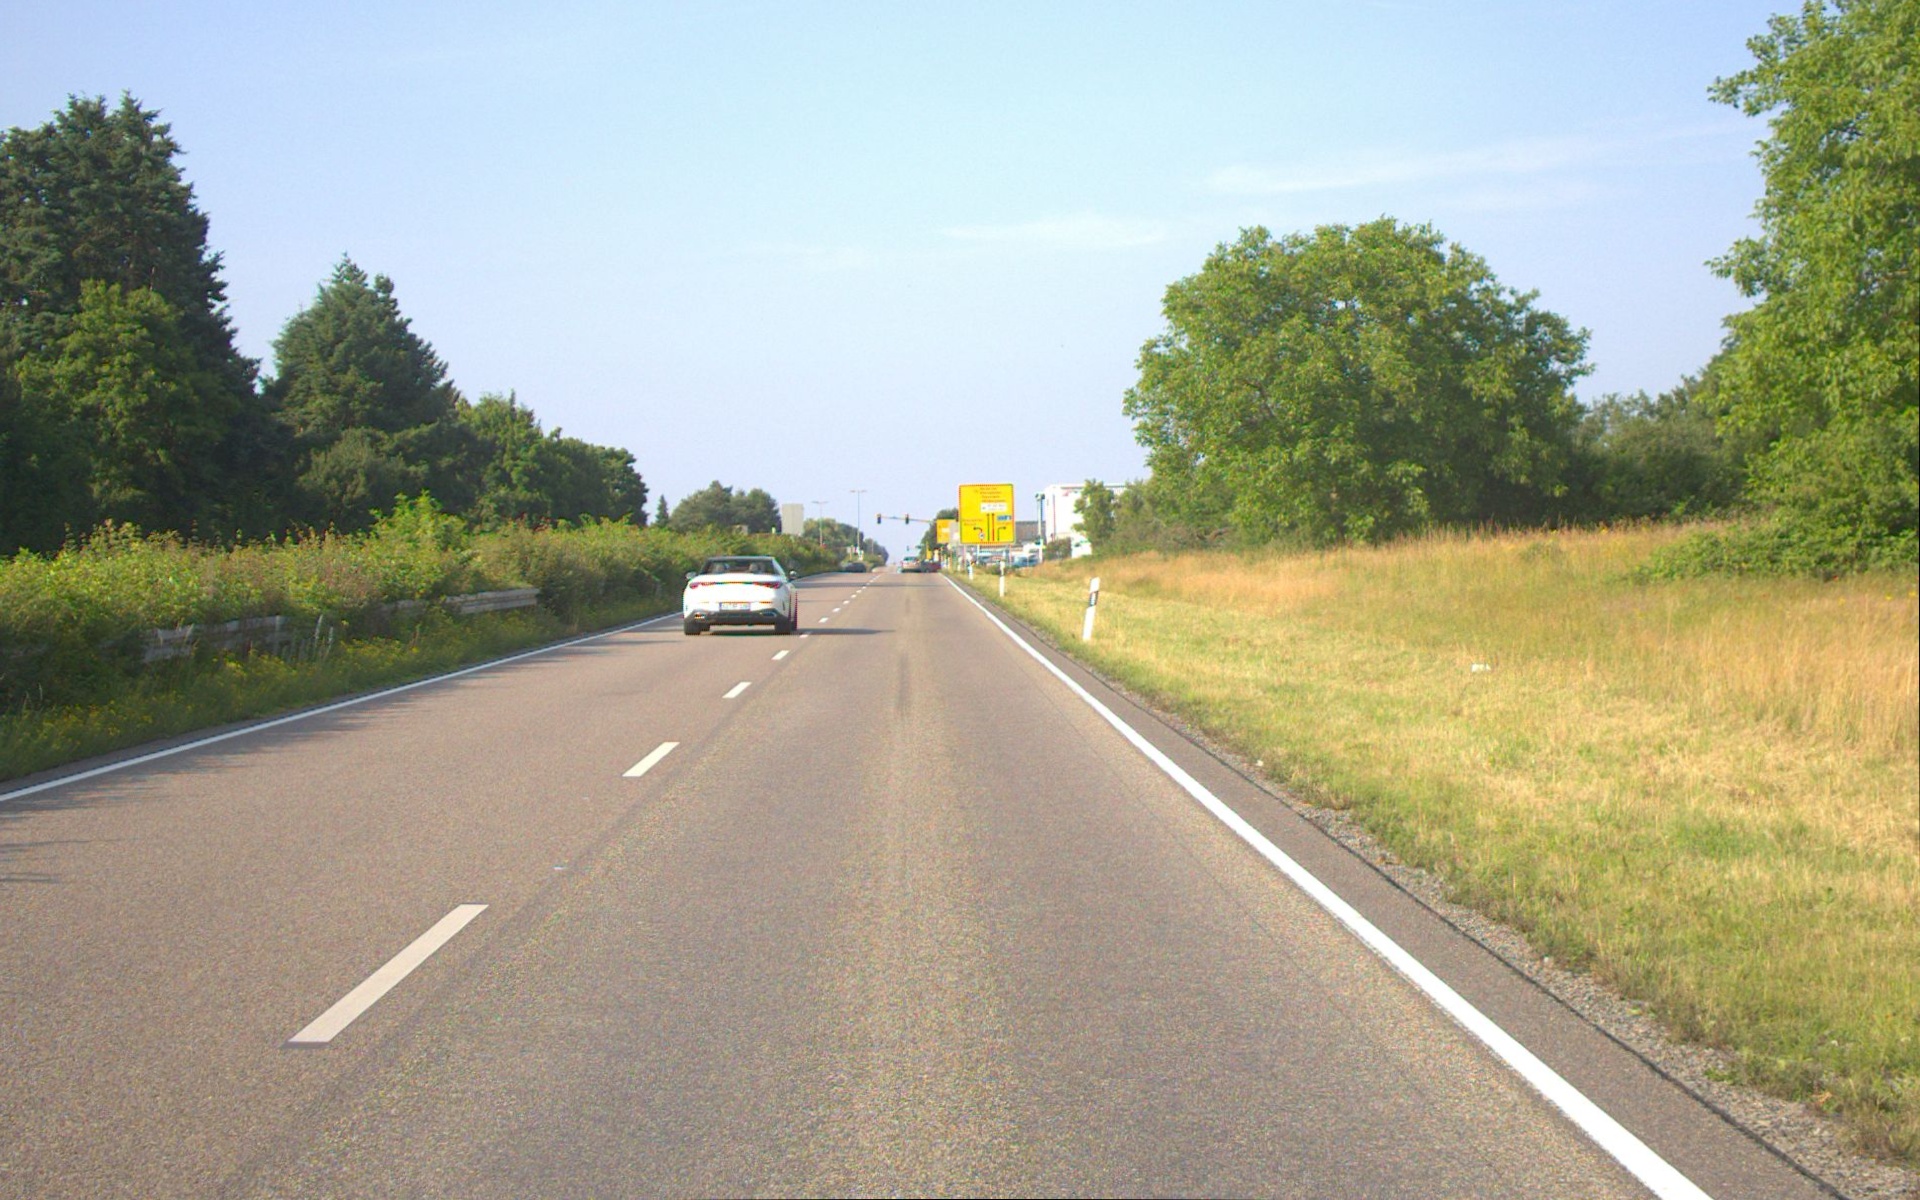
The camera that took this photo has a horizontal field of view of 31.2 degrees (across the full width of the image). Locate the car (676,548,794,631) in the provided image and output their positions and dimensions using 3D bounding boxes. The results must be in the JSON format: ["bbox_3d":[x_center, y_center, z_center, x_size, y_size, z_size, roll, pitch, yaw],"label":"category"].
[{"bbox_3d":[-3.937,-0.208,60.644,1.909,1.417,4.000,0,1,-1],"label":"car"}]
